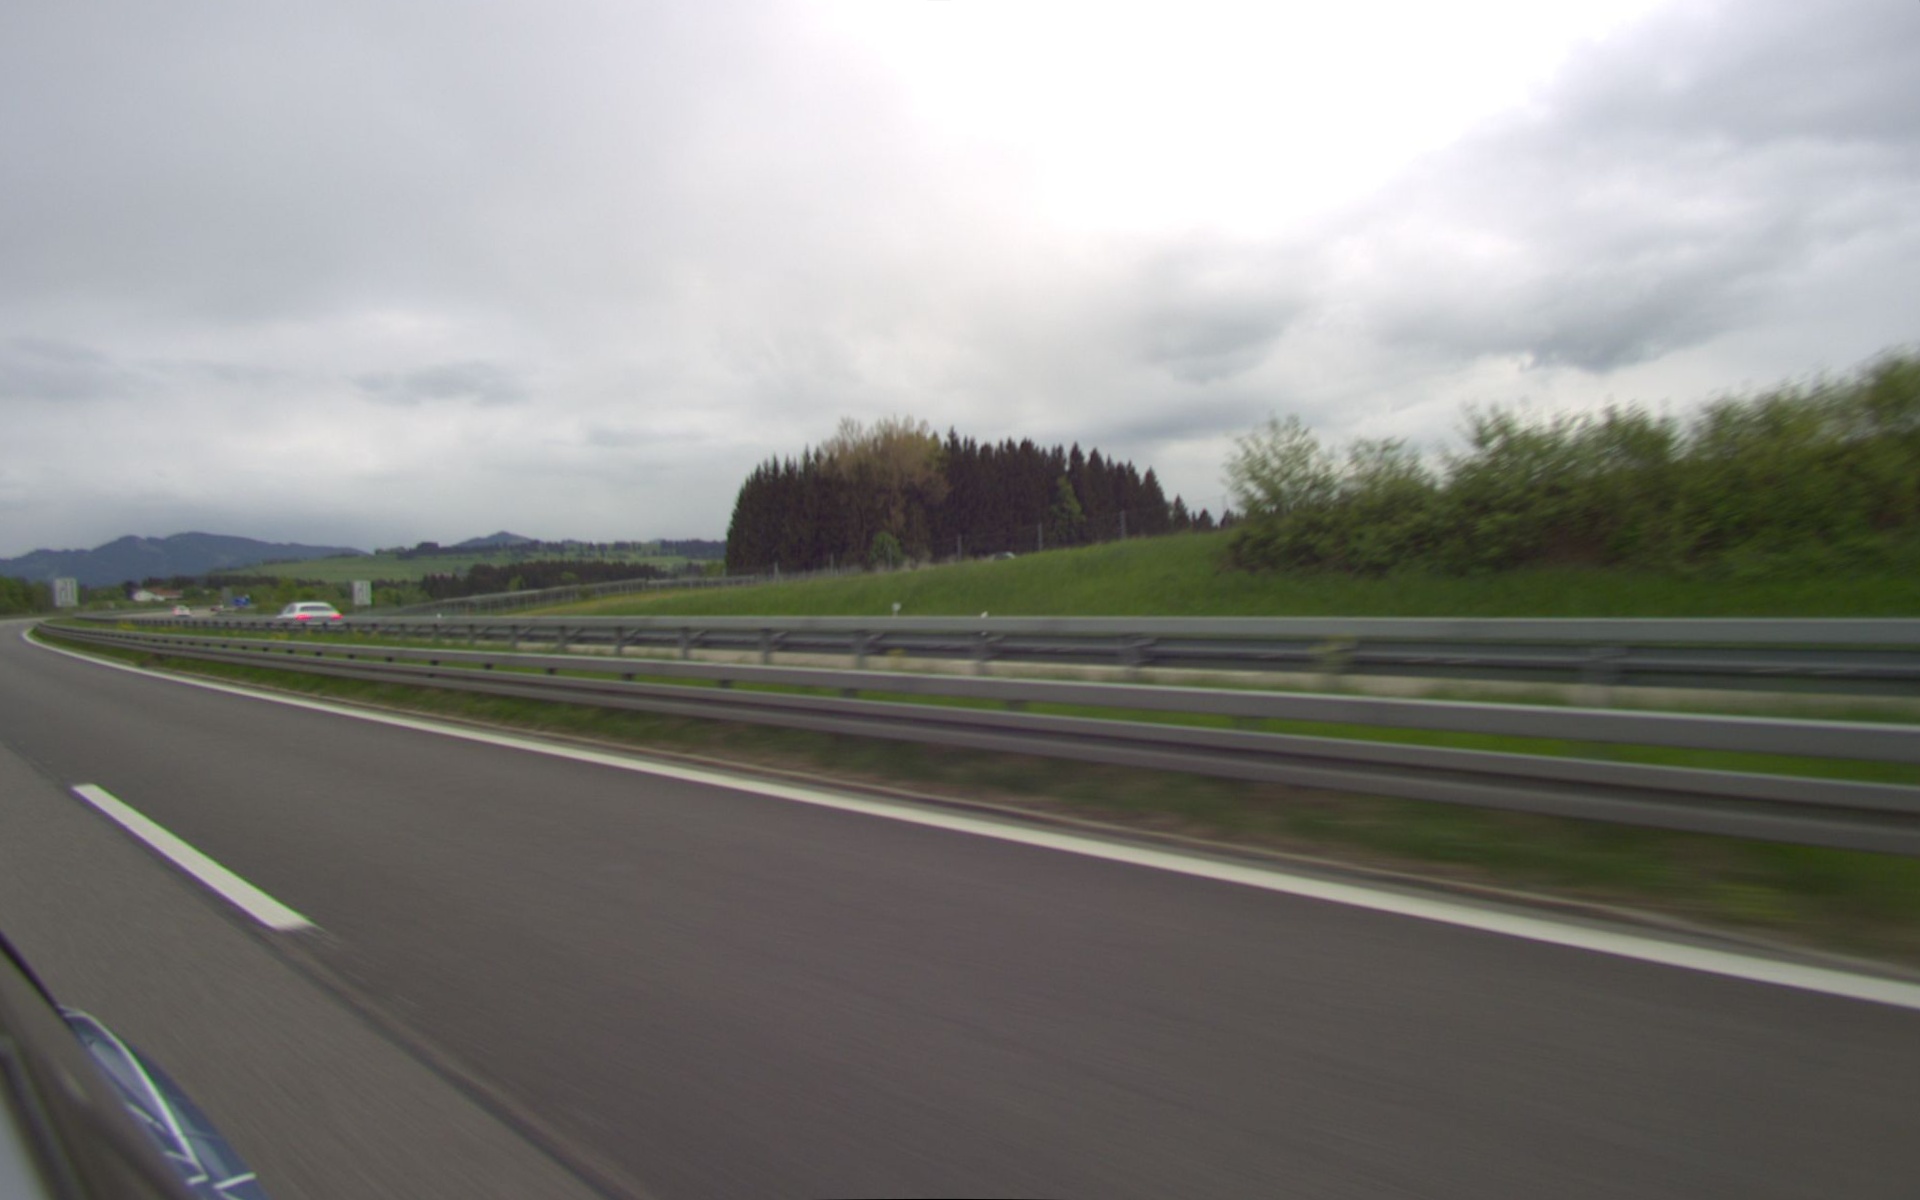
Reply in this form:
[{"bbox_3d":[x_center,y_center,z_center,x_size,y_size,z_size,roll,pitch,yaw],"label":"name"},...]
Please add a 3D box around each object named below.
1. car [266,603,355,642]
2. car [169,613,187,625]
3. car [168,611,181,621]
[{"bbox_3d":[-27.015,0.950,42.034,4.462,1.439,1.973,-2,2,42],"label":"car"},{"bbox_3d":[-119.358,2.882,154.364,2.010,1.703,5.064,-4,1,-39],"label":"car"},{"bbox_3d":[-152.340,3.153,196.317,1.968,1.699,4.636,-4,1,-37],"label":"car"}]
